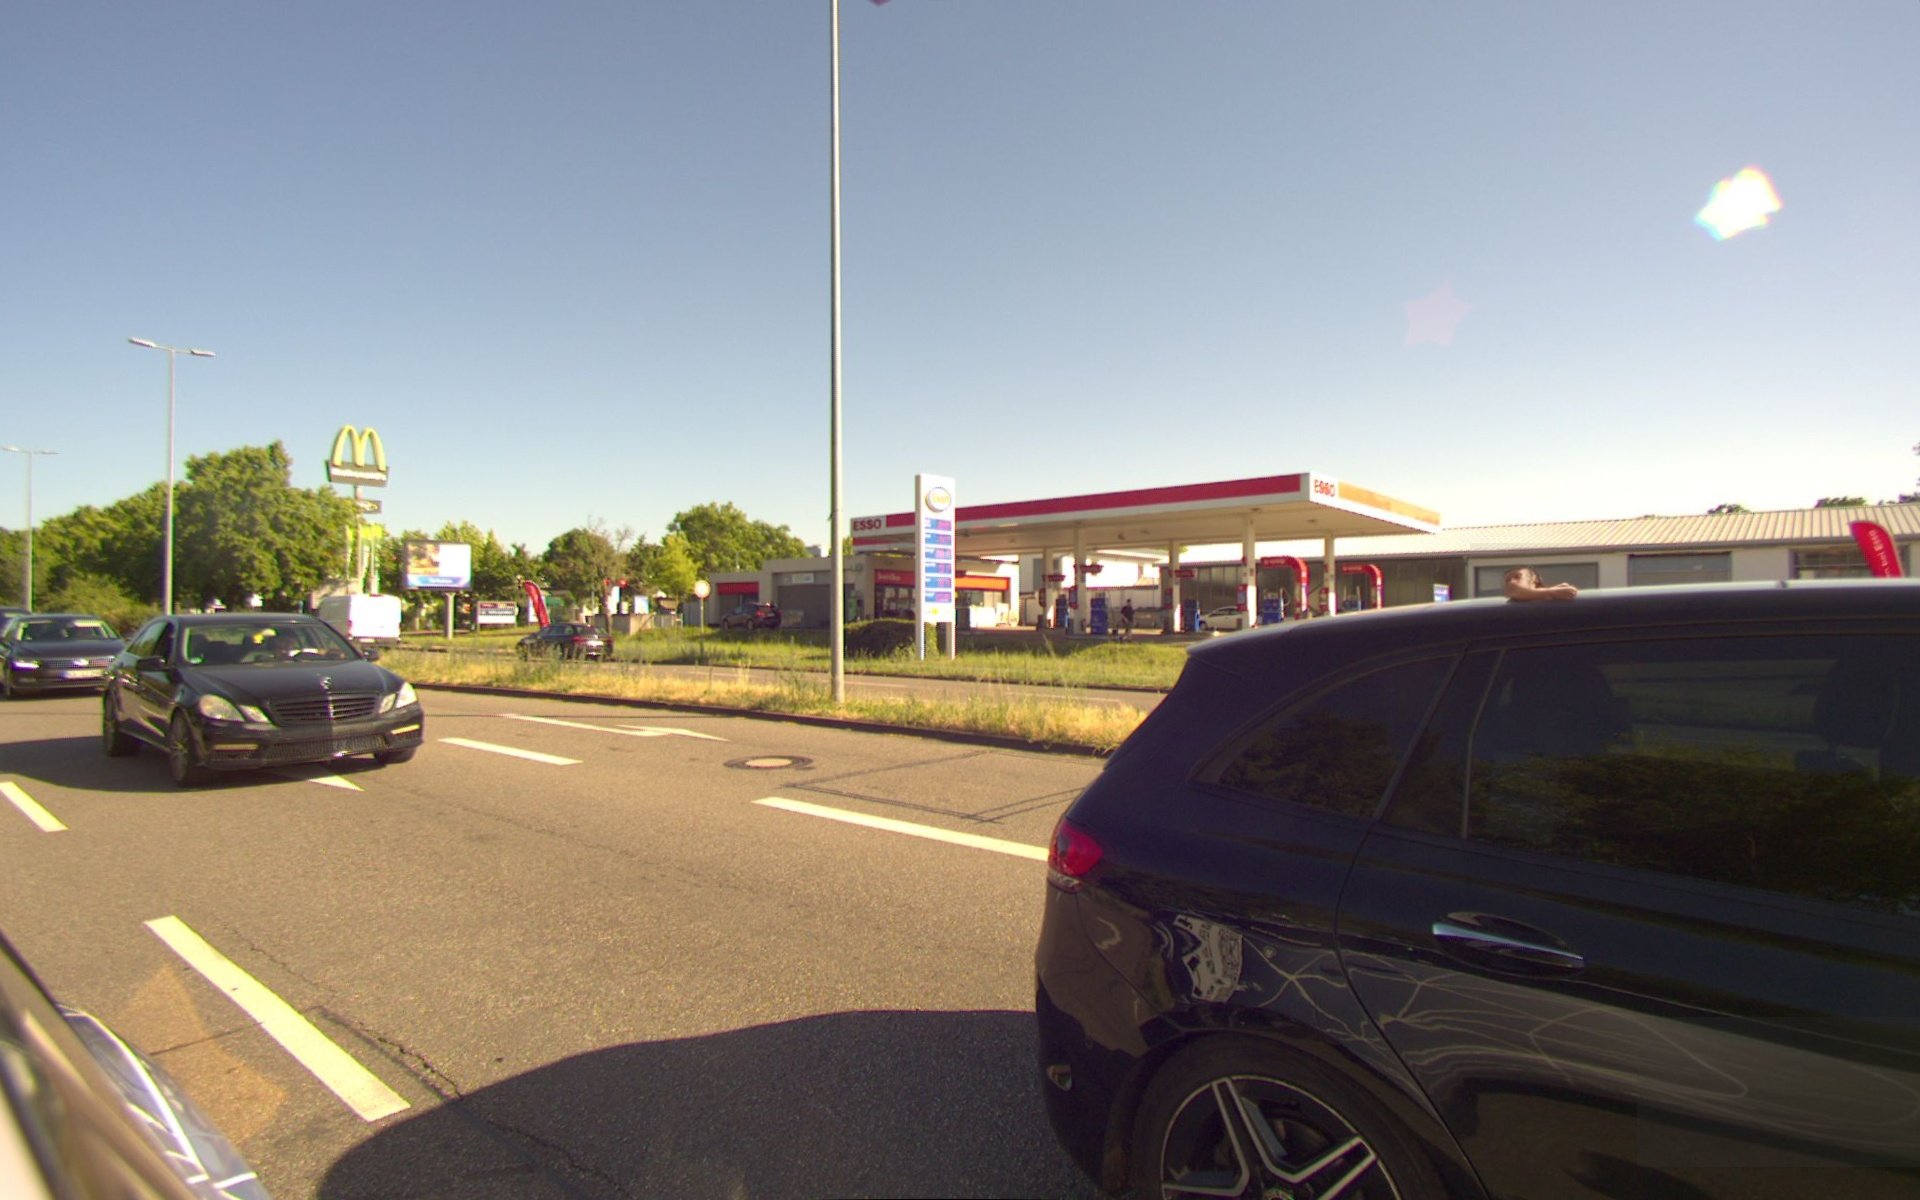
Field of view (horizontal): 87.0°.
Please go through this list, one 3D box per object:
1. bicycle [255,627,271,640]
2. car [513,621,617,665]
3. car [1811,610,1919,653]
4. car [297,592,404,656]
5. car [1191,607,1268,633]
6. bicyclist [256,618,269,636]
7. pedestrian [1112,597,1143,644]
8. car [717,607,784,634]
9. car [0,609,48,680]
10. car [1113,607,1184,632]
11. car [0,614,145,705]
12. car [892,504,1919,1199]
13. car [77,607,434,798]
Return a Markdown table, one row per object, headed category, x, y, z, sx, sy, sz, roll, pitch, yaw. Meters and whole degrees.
| category | x | y | z | sx | sy | sz | roll | pitch | yaw |
| --- | --- | --- | --- | --- | --- | --- | --- | --- | --- |
| bicycle | -50.975 | 2.453 | 74.013 | 1.741 | 0.874 | 0.621 | 0 | 0 | 42 |
| car | -14.919 | 1.600 | 38.116 | 4.476 | 1.502 | 1.740 | -1 | -4 | 41 |
| car | 34.735 | 1.154 | 38.070 | 1.757 | 1.528 | 4.003 | -1 | 0 | -44 |
| car | -25.774 | 1.016 | 42.695 | 5.817 | 2.466 | 2.002 | 0 | -4 | 40 |
| car | 15.571 | 1.166 | 58.533 | 3.975 | 1.420 | 1.661 | 0 | -3 | 40 |
| bicyclist | -51.020 | 1.961 | 74.048 | 0.700 | 1.298 | 0.621 | 0 | 0 | 42 |
| pedestrian | 6.491 | 0.777 | 39.188 | 0.903 | 1.763 | 0.781 | 0 | 0 | 39 |
| car | -12.136 | 1.172 | 58.520 | 3.975 | 1.420 | 1.661 | 0 | -3 | 40 |
| car | -23.730 | 1.053 | 24.718 | 3.876 | 1.629 | 1.653 | -1 | 0 | 40 |
| car | 11.563 | 1.177 | 62.269 | 3.975 | 1.420 | 1.661 | 0 | -3 | 40 |
| car | -16.670 | 1.009 | 18.651 | 4.284 | 1.438 | 1.775 | -1 | 0 | 40 |
| car | 2.073 | 0.638 | 1.642 | 4.400 | 1.502 | 1.741 | 0 | -1 | 40 |
| car | -7.118 | 0.816 | 10.044 | 4.400 | 1.449 | 1.845 | 0 | 0 | 40 |
